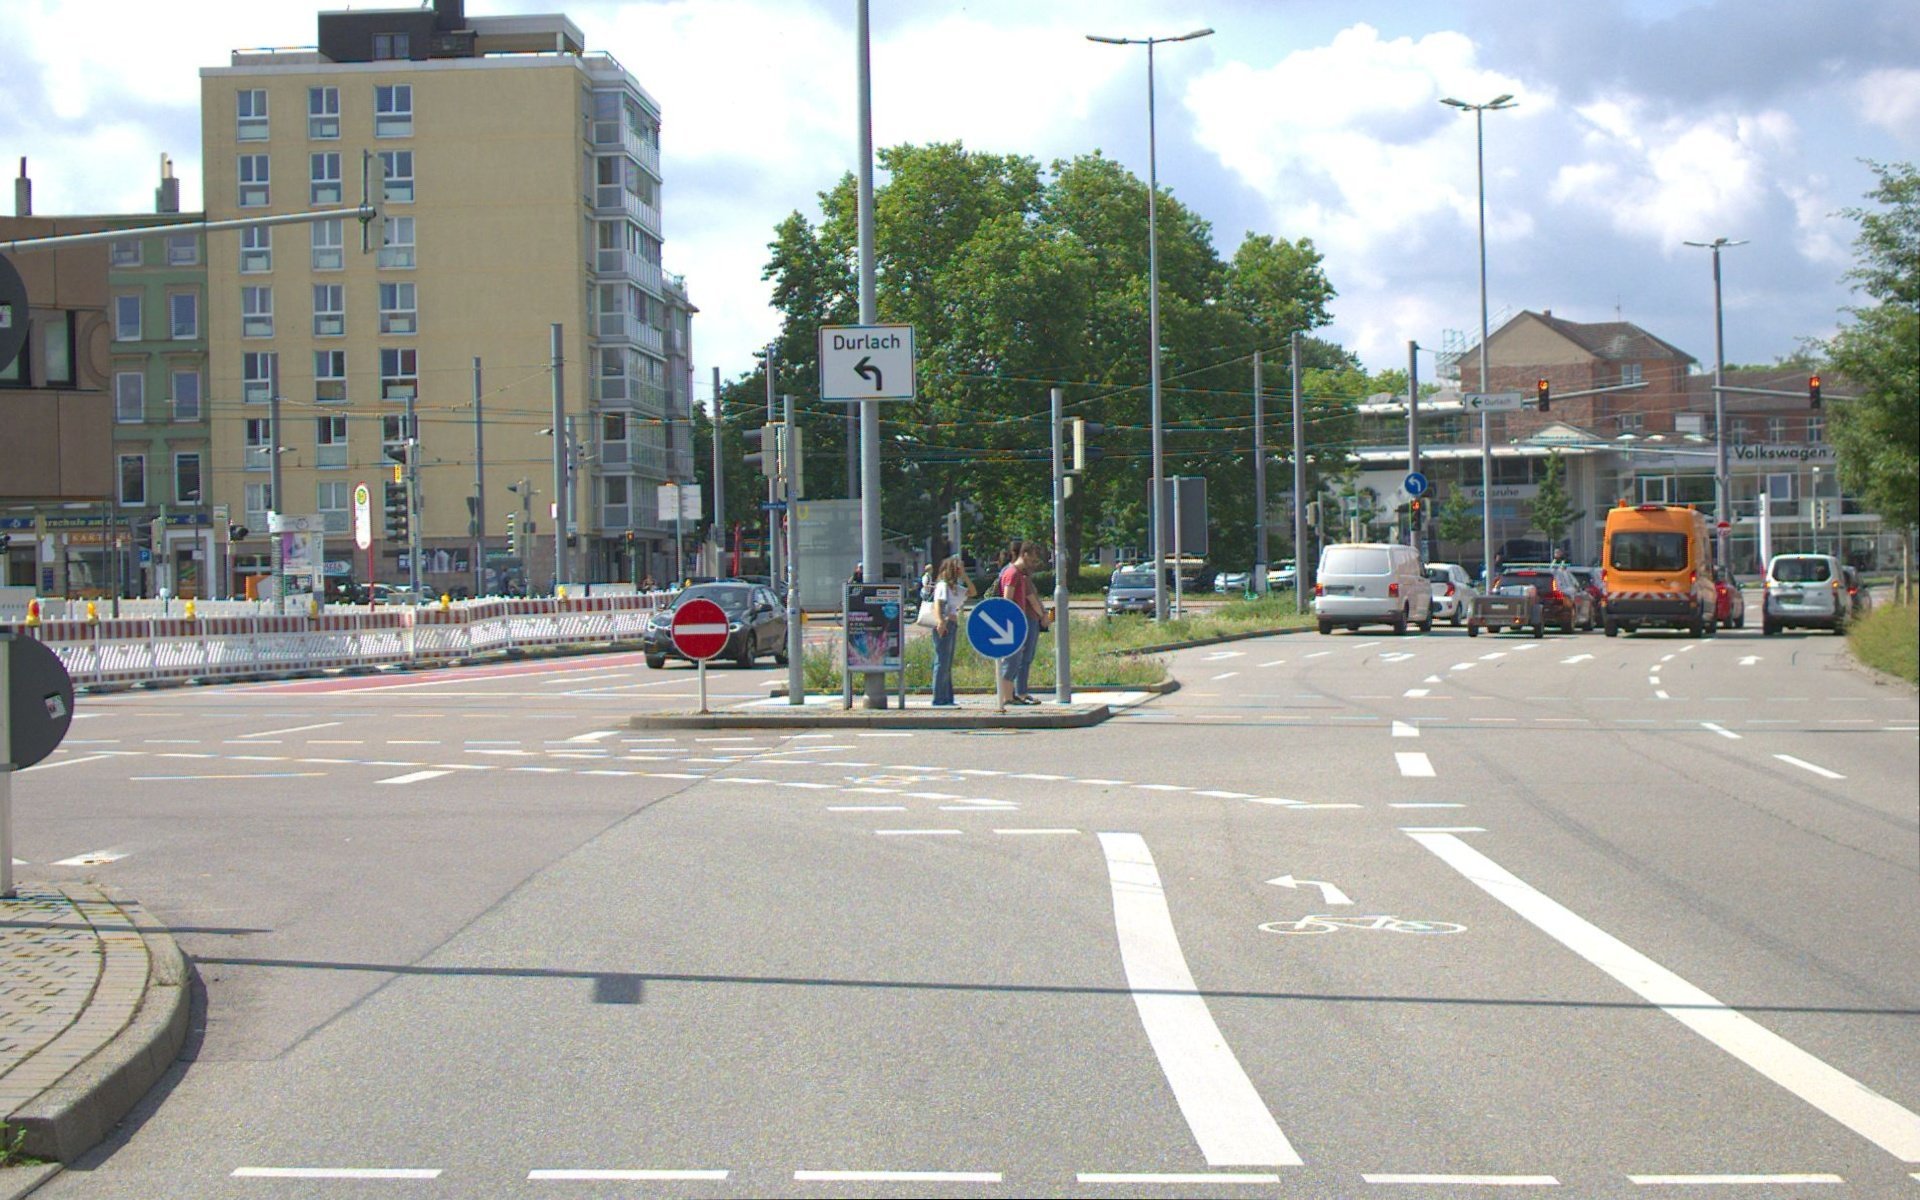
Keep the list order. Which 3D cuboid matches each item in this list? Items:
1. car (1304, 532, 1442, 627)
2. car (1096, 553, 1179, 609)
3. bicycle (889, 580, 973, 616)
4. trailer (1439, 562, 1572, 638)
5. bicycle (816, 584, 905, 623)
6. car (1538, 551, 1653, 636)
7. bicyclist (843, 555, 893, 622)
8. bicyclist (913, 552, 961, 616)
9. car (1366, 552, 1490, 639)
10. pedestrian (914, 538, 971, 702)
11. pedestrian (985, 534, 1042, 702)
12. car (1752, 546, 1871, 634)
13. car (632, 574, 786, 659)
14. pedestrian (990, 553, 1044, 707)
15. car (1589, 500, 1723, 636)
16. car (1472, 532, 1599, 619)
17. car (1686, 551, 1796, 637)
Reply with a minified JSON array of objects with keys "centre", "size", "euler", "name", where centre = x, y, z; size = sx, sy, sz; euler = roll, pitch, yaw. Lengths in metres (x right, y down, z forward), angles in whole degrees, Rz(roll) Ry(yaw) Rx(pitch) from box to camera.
[{"centre":[9.053,-0.468,75.005],"size":[2.007,1.960,4.634],"euler":[-2,0,19],"name":"car"},{"centre":[4.979,-0.547,96.050],"size":[1.663,1.475,4.059],"euler":[2,1,12],"name":"car"},{"centre":[-0.874,-0.061,103.607],"size":[2.380,1.063,0.842],"euler":[-1,0,16],"name":"bicycle"},{"centre":[11.524,-0.015,72.435],"size":[1.995,1.472,3.996],"euler":[-2,0,20],"name":"trailer"},{"centre":[-2.855,0.103,98.850],"size":[2.380,1.063,0.858],"euler":[-1,0,16],"name":"bicycle"},{"centre":[15.231,-0.180,82.258],"size":[1.993,1.932,4.634],"euler":[-2,0,19],"name":"car"},{"centre":[-2.642,-0.326,98.774],"size":[1.220,1.903,0.858],"euler":[-1,0,16],"name":"bicyclist"},{"centre":[-0.692,-0.483,103.553],"size":[1.220,1.903,0.833],"euler":[-1,0,16],"name":"bicyclist"},{"centre":[11.099,-0.128,81.343],"size":[1.993,1.932,4.634],"euler":[-2,0,19],"name":"car"},{"centre":[-0.183,0.209,36.714],"size":[0.525,1.727,0.623],"euler":[-1,0,5],"name":"pedestrian"},{"centre":[0.560,0.180,35.762],"size":[0.525,1.727,0.623],"euler":[-1,0,5],"name":"pedestrian"},{"centre":[18.392,-0.230,74.171],"size":[1.995,1.789,3.996],"euler":[-2,0,21],"name":"car"},{"centre":[-4.272,0.262,59.120],"size":[1.792,1.383,4.226],"euler":[-1,0,8],"name":"car"},{"centre":[0.634,0.324,37.945],"size":[0.525,1.678,0.623],"euler":[-1,0,5],"name":"pedestrian"},{"centre":[14.883,-0.693,73.338],"size":[2.132,2.771,4.634],"euler":[-2,0,19],"name":"car"},{"centre":[12.712,-0.549,75.736],"size":[1.995,1.820,3.996],"euler":[-2,0,20],"name":"car"},{"centre":[18.487,-0.165,81.218],"size":[1.993,1.932,4.634],"euler":[-2,0,19],"name":"car"}]
